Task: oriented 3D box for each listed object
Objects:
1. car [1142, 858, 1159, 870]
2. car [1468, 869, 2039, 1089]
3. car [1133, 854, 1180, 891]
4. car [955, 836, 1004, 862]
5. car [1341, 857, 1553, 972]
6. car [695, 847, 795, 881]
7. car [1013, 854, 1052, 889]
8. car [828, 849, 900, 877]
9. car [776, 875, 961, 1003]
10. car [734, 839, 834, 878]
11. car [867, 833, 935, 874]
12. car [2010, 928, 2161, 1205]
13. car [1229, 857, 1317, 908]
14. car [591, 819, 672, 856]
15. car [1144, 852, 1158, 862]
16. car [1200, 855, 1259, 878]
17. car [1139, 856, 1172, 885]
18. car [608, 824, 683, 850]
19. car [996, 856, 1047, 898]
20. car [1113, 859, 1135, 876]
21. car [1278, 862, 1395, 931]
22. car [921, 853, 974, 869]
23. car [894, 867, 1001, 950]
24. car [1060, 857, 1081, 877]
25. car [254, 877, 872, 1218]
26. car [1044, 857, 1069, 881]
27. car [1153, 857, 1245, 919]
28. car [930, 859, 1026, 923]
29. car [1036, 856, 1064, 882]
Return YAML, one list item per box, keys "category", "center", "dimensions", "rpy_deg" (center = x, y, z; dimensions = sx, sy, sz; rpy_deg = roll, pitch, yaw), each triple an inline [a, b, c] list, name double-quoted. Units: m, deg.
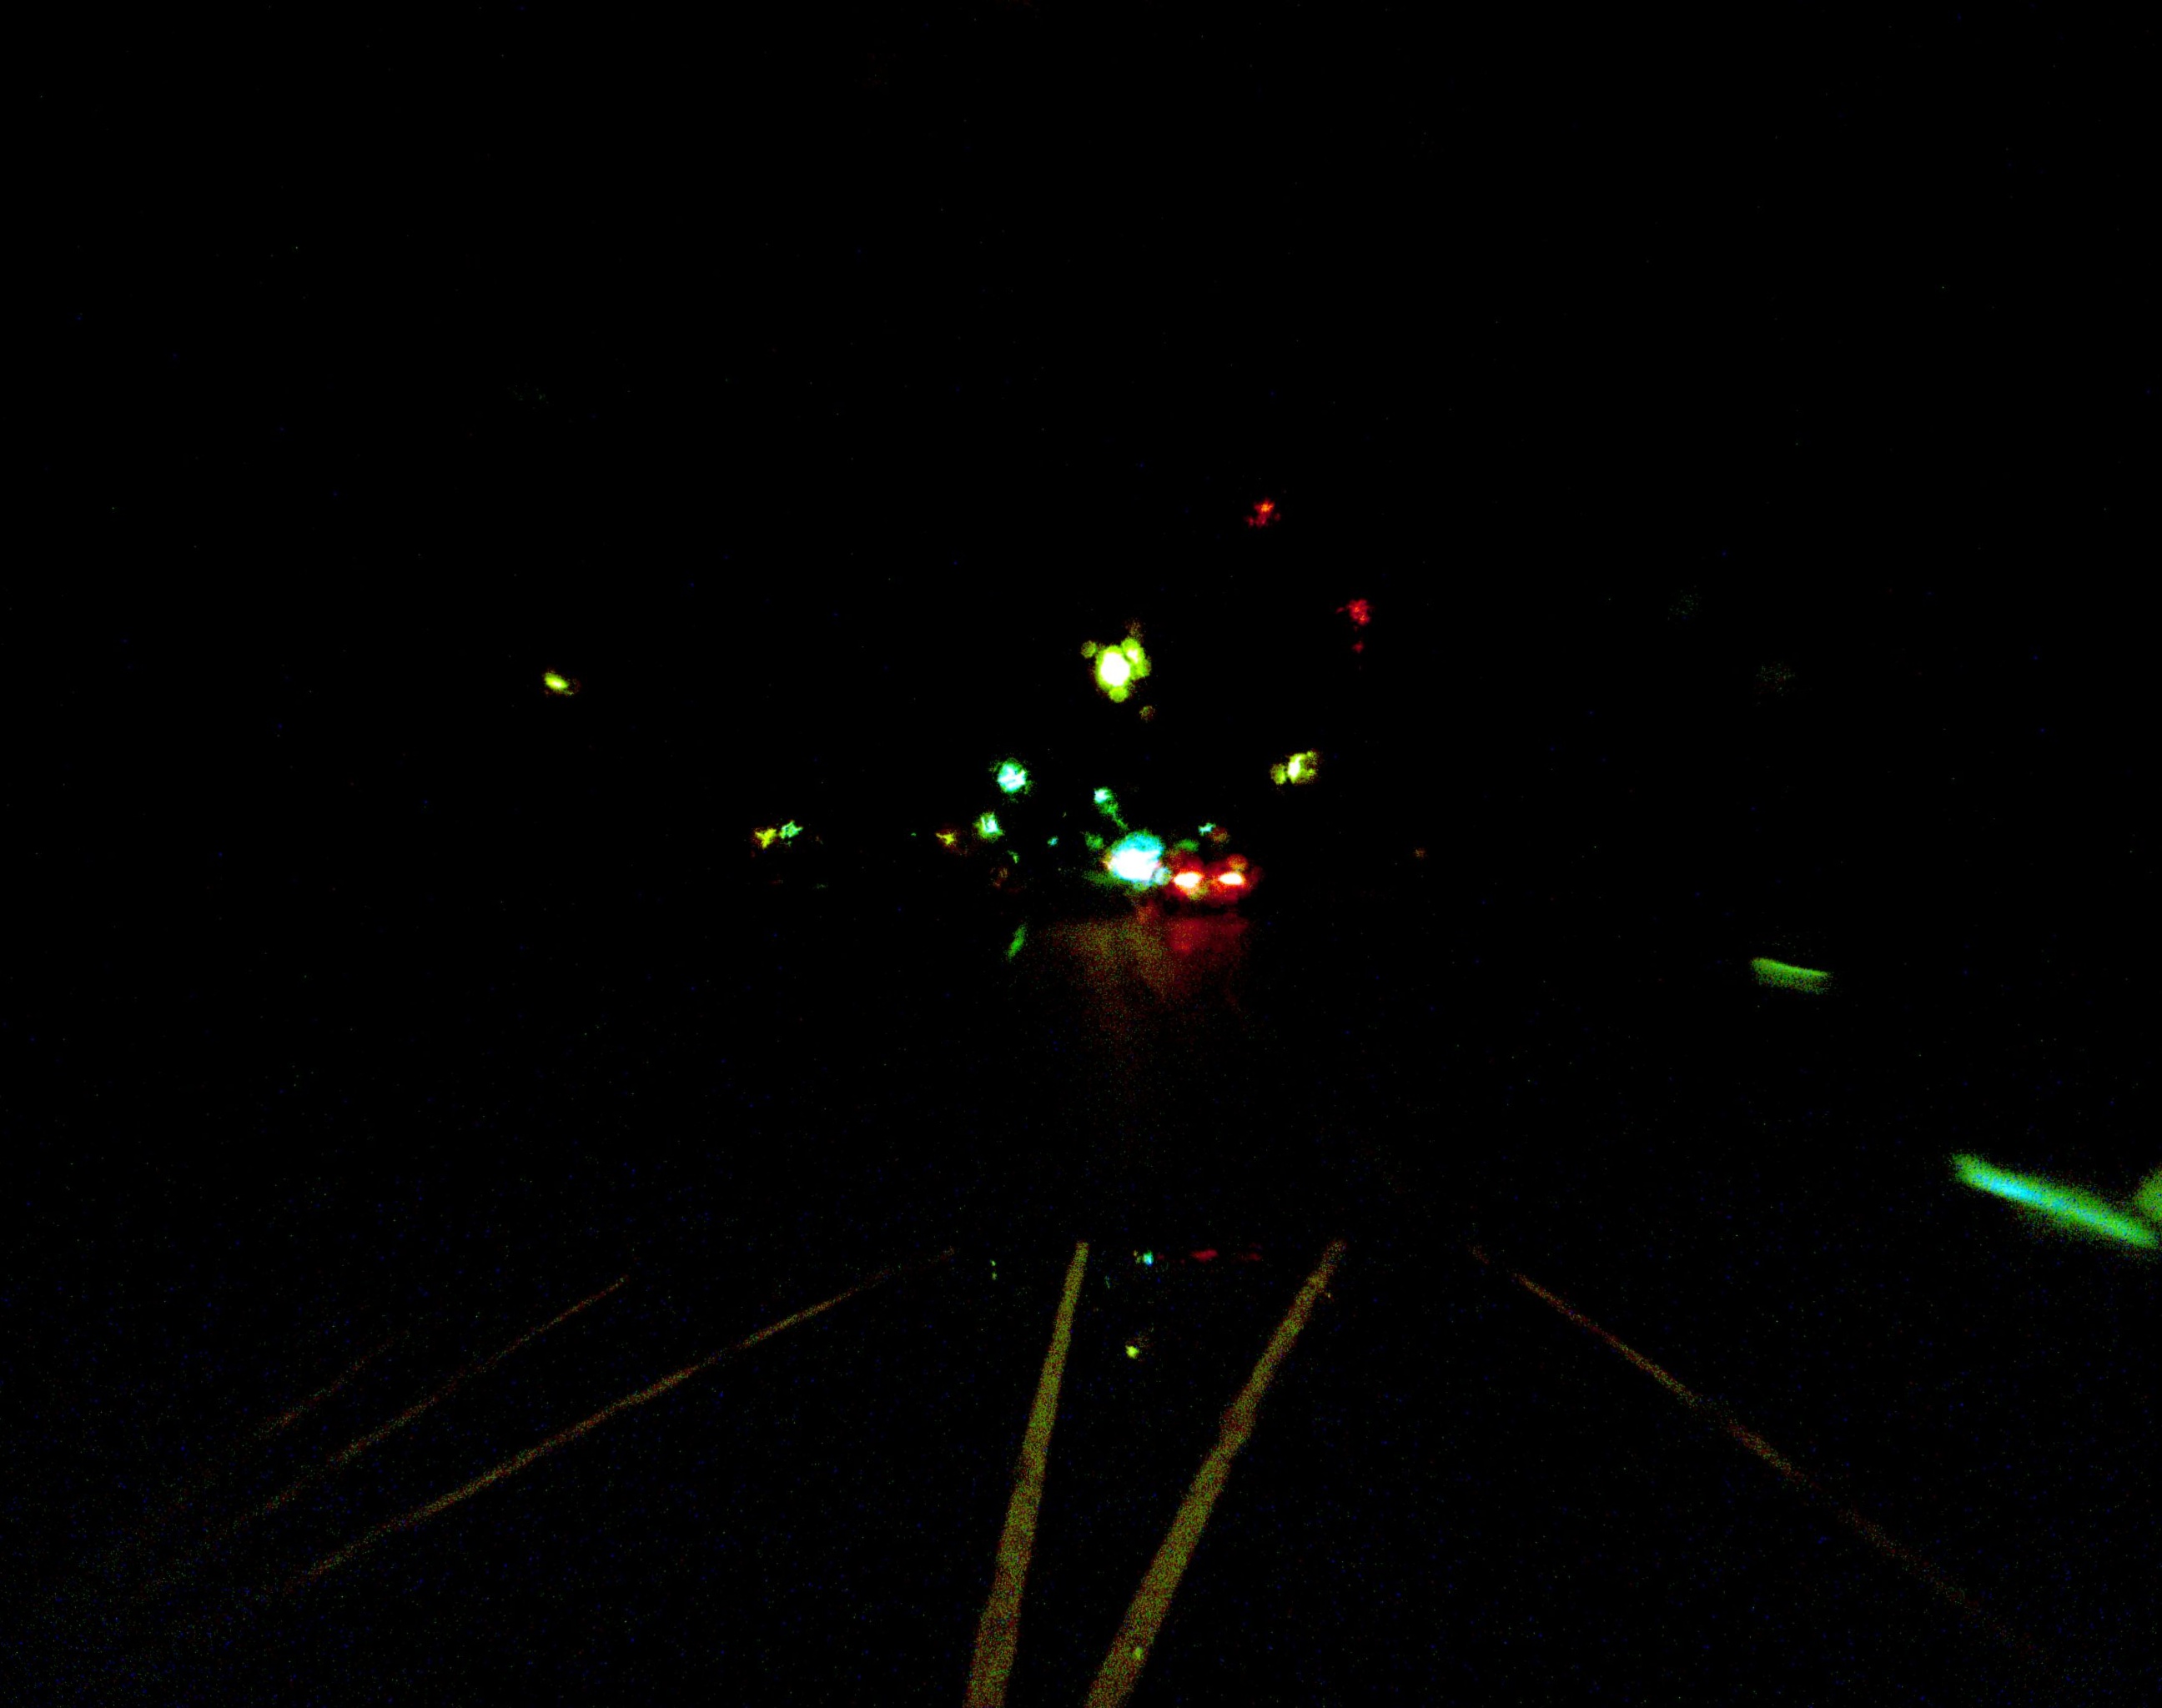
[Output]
- category: "car"
  center: [8.819, 1.286, 96.665]
  dimensions: [1.849, 1.440, 4.550]
  rpy_deg: [2, -1, 2]
- category: "car"
  center: [5.837, 0.918, 7.534]
  dimensions: [1.799, 1.464, 4.397]
  rpy_deg: [2, -1, 1]
- category: "car"
  center: [3.491, 0.861, 35.876]
  dimensions: [1.890, 1.588, 4.550]
  rpy_deg: [2, -1, 2]
- category: "car"
  center: [-9.223, -0.454, 69.099]
  dimensions: [4.021, 2.156, 1.803]
  rpy_deg: [2, 0, 8]
- category: "car"
  center: [5.962, 0.885, 12.949]
  dimensions: [1.628, 1.564, 3.963]
  rpy_deg: [3, 0, 0]
- category: "car"
  center: [-14.914, 0.443, 33.801]
  dimensions: [3.663, 1.333, 1.666]
  rpy_deg: [2, -1, 1]
- category: "car"
  center: [-2.337, 0.848, 37.484]
  dimensions: [1.740, 1.581, 3.617]
  rpy_deg: [2, -1, -2]
- category: "car"
  center: [-12.525, 0.528, 43.973]
  dimensions: [3.663, 1.447, 1.666]
  rpy_deg: [2, 0, 1]
- category: "car"
  center: [-2.931, 1.102, 11.349]
  dimensions: [1.608, 1.464, 3.952]
  rpy_deg: [2, -1, 0]
- category: "car"
  center: [-14.195, 0.212, 36.435]
  dimensions: [4.089, 1.696, 1.667]
  rpy_deg: [2, 0, 5]
- category: "car"
  center: [-12.169, -0.027, 51.410]
  dimensions: [4.021, 2.603, 1.803]
  rpy_deg: [2, 0, 8]
- category: "car"
  center: [5.968, 1.033, 1.857]
  dimensions: [1.842, 1.260, 4.639]
  rpy_deg: [2, -1, 3]
- category: "car"
  center: [6.091, 0.859, 24.643]
  dimensions: [1.628, 1.464, 4.548]
  rpy_deg: [2, -1, -1]
- category: "car"
  center: [-33.865, -1.248, 57.351]
  dimensions: [4.750, 2.573, 2.300]
  rpy_deg: [2, 0, 2]
- category: "car"
  center: [10.701, 0.454, 115.636]
  dimensions: [1.849, 1.440, 4.550]
  rpy_deg: [2, -1, 2]
- category: "car"
  center: [12.081, 1.029, 61.806]
  dimensions: [4.539, 1.695, 1.853]
  rpy_deg: [1, -1, 15]
- category: "car"
  center: [4.837, 1.066, 49.950]
  dimensions: [1.849, 1.814, 4.550]
  rpy_deg: [2, -1, 2]
- category: "car"
  center: [-26.696, -1.029, 46.652]
  dimensions: [3.663, 1.447, 1.666]
  rpy_deg: [2, 0, 1]
- category: "car"
  center: [-2.408, 0.927, 31.771]
  dimensions: [1.896, 1.581, 3.835]
  rpy_deg: [2, -1, -2]
- category: "car"
  center: [3.775, 1.200, 67.570]
  dimensions: [1.849, 1.440, 4.550]
  rpy_deg: [2, -1, 2]
- category: "car"
  center: [6.097, 0.951, 18.598]
  dimensions: [1.627, 1.464, 3.964]
  rpy_deg: [2, -1, 2]
- category: "car"
  center: [-11.246, 0.616, 64.258]
  dimensions: [4.021, 1.261, 1.803]
  rpy_deg: [2, -1, 8]
- category: "car"
  center: [-2.648, 1.031, 15.844]
  dimensions: [1.608, 1.464, 3.951]
  rpy_deg: [2, -1, -2]
- category: "car"
  center: [-0.935, 1.106, 65.087]
  dimensions: [1.695, 1.581, 3.766]
  rpy_deg: [2, -1, -1]
- category: "car"
  center: [-2.929, 0.961, 5.491]
  dimensions: [1.800, 1.464, 3.951]
  rpy_deg: [2, -1, -2]
- category: "car"
  center: [-1.746, 1.071, 54.251]
  dimensions: [1.649, 1.581, 3.446]
  rpy_deg: [2, -1, -2]
- category: "car"
  center: [3.185, 0.884, 21.416]
  dimensions: [2.044, 1.539, 4.684]
  rpy_deg: [0, -1, 2]
- category: "car"
  center: [-2.737, 0.961, 21.306]
  dimensions: [1.799, 1.538, 4.786]
  rpy_deg: [2, -1, 2]
- category: "car"
  center: [-1.973, 0.951, 48.816]
  dimensions: [1.695, 1.581, 3.765]
  rpy_deg: [2, -1, -2]
